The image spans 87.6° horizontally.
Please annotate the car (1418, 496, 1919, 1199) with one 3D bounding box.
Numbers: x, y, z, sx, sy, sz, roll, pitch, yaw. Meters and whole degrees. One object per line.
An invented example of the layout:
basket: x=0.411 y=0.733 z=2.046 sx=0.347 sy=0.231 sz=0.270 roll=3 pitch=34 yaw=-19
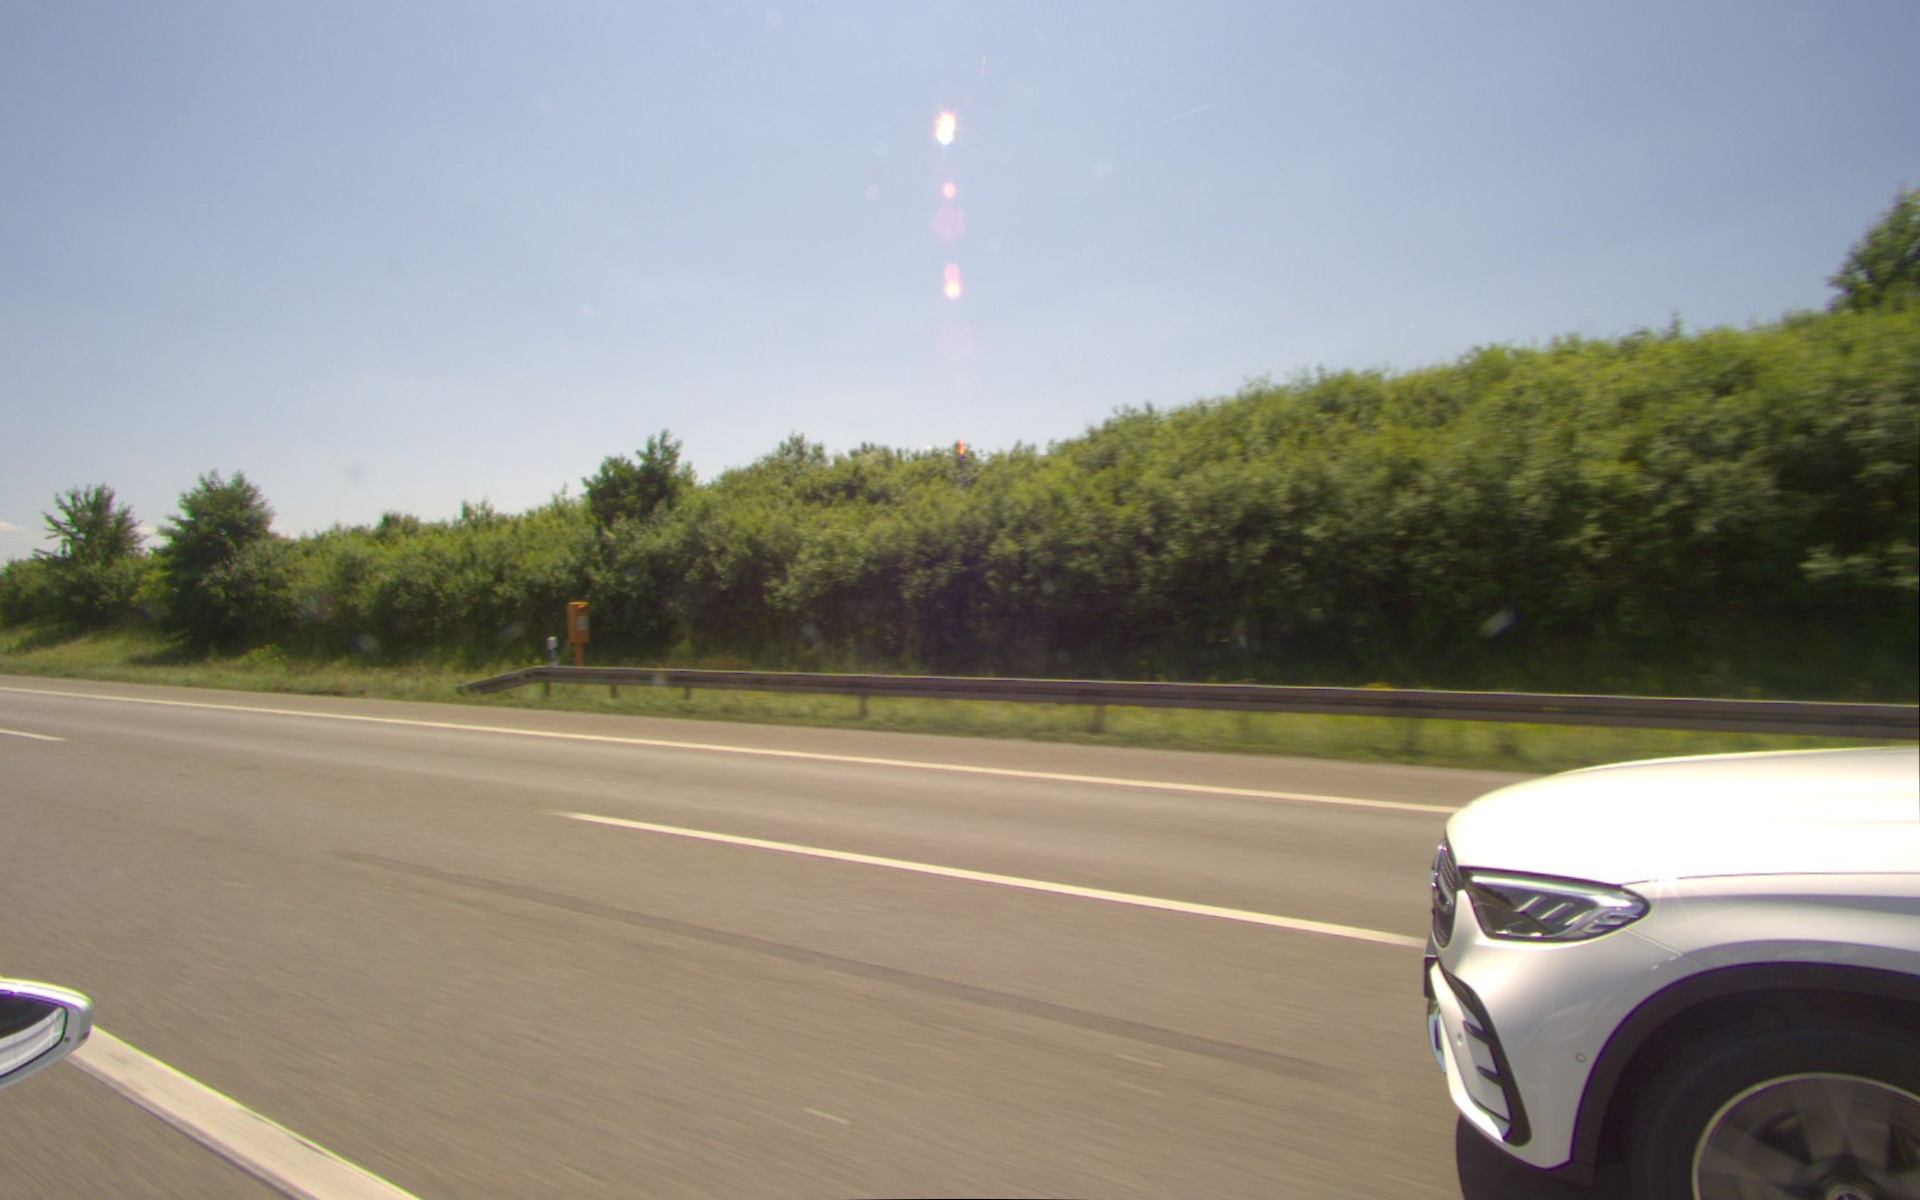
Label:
car: x=3.444 y=0.663 z=1.823 sx=4.569 sy=1.677 sz=1.902 roll=-1 pitch=-2 yaw=32
